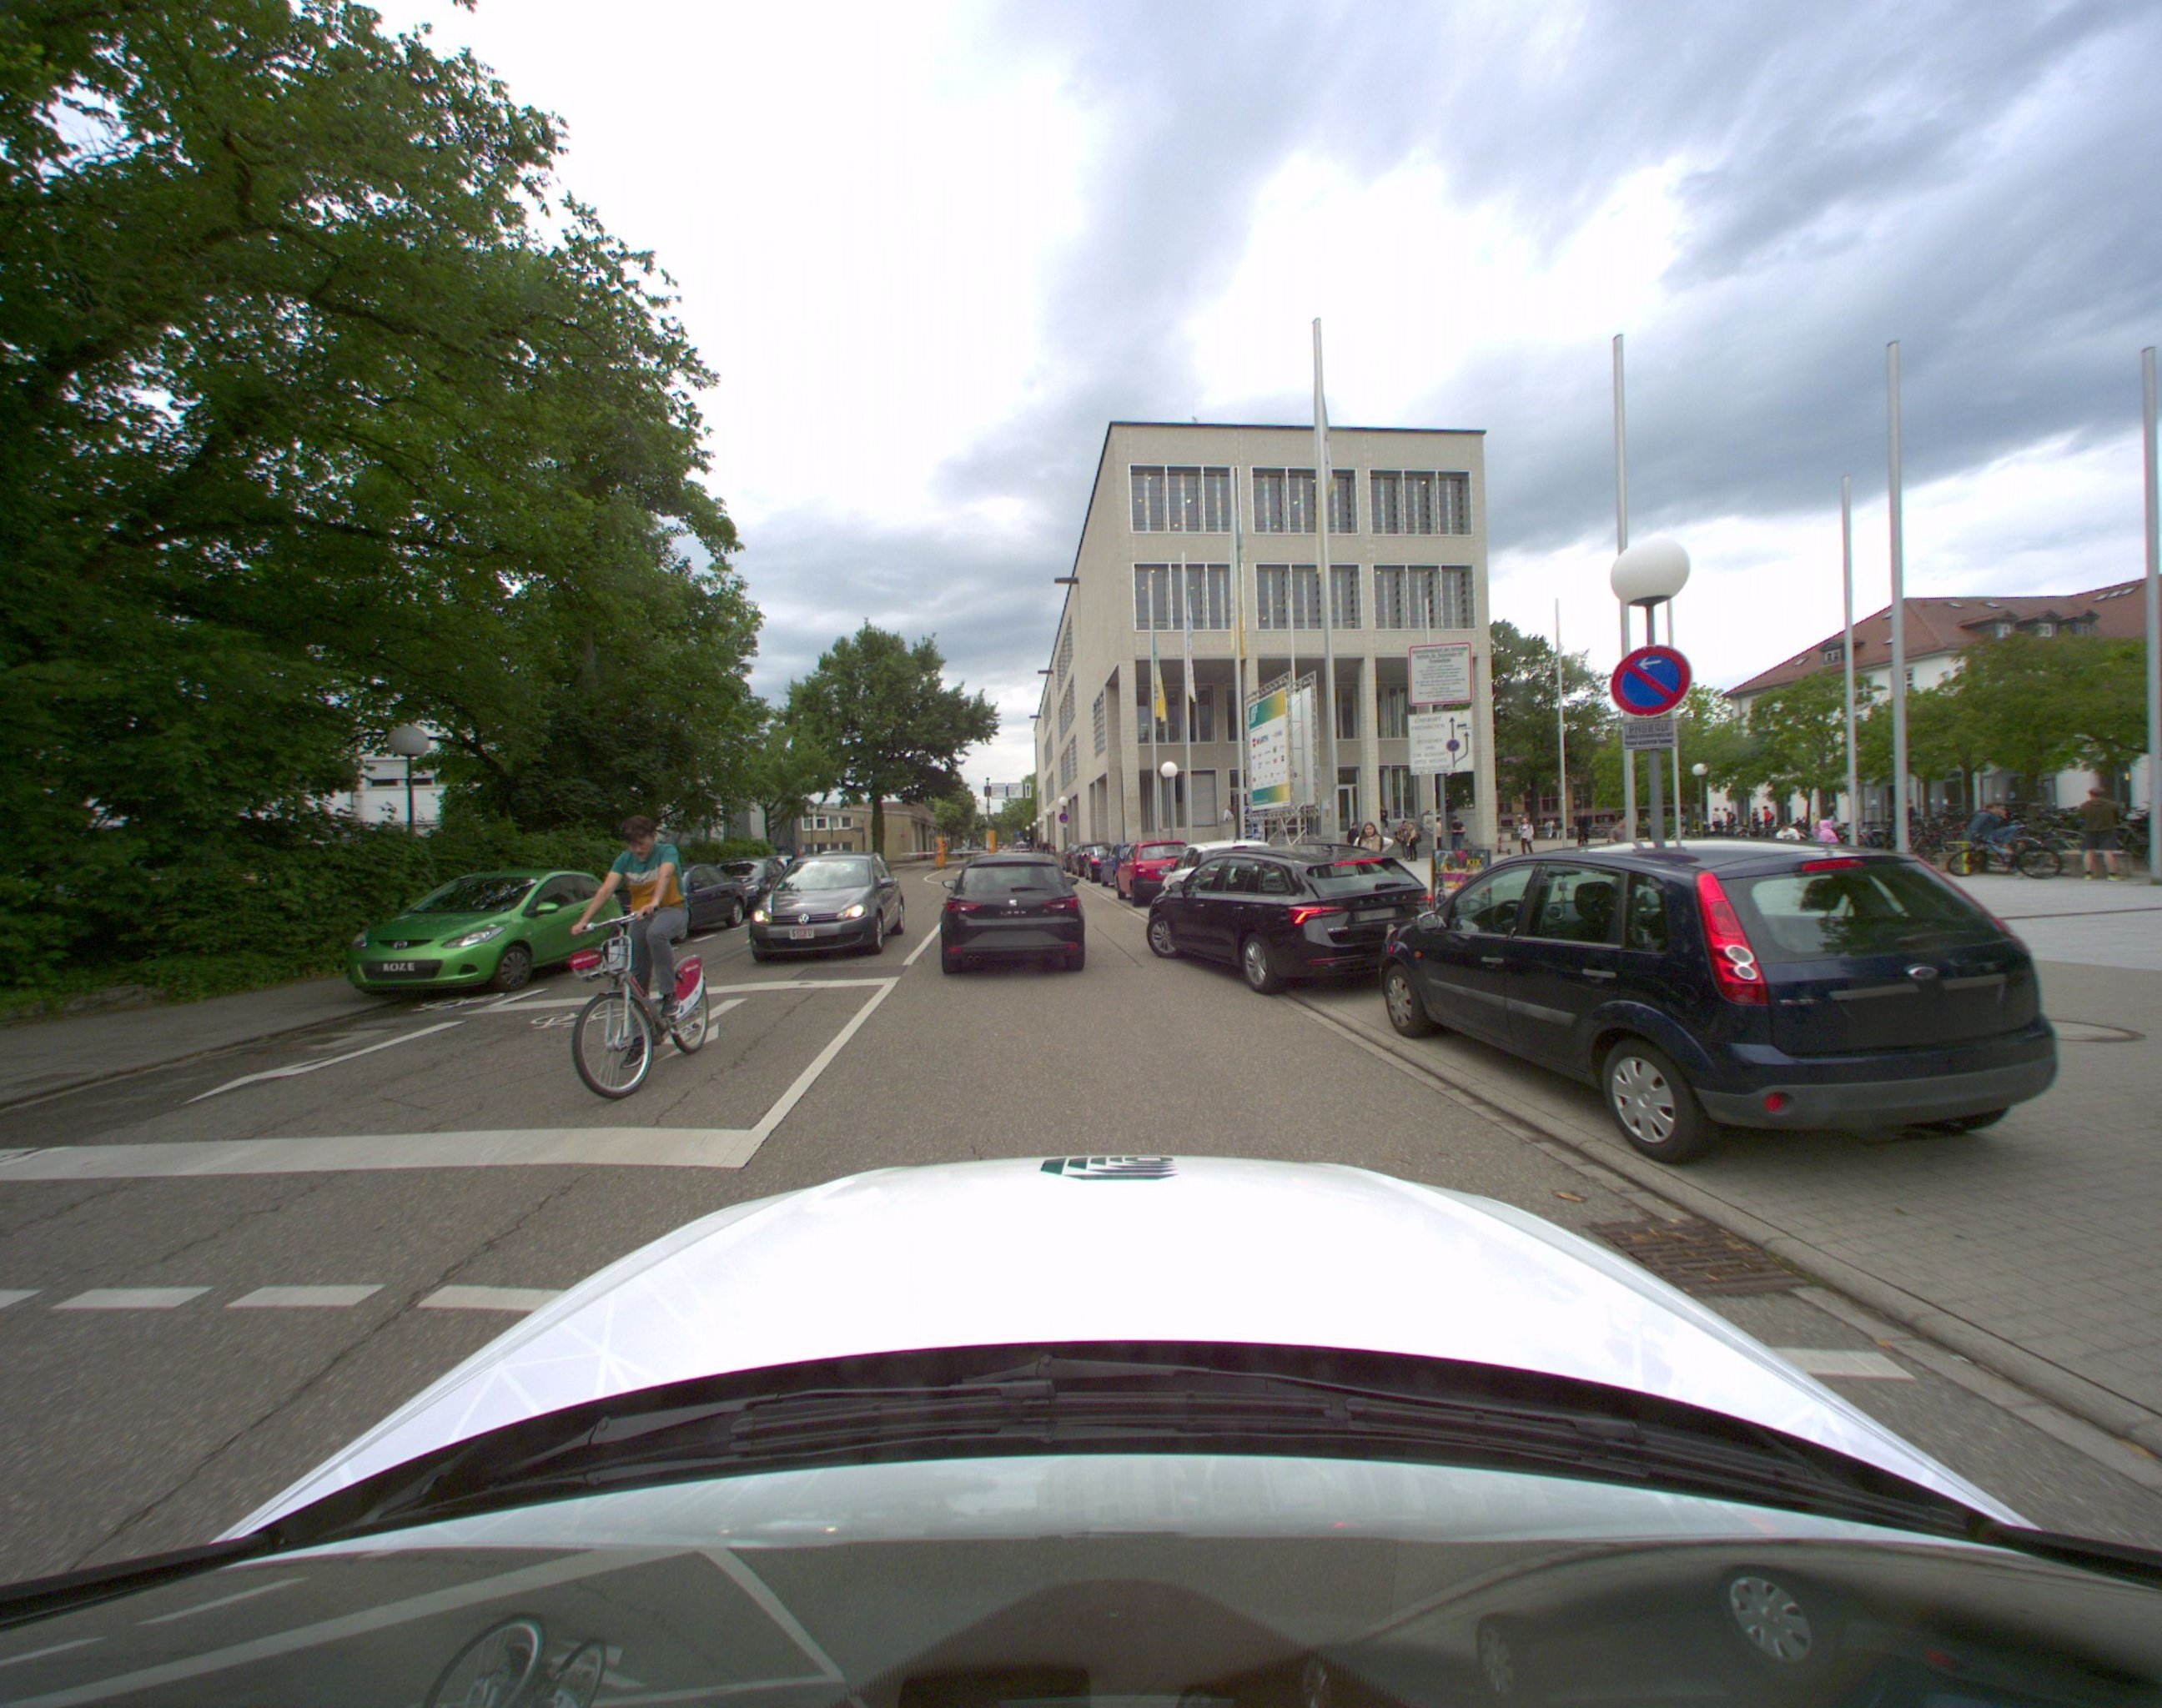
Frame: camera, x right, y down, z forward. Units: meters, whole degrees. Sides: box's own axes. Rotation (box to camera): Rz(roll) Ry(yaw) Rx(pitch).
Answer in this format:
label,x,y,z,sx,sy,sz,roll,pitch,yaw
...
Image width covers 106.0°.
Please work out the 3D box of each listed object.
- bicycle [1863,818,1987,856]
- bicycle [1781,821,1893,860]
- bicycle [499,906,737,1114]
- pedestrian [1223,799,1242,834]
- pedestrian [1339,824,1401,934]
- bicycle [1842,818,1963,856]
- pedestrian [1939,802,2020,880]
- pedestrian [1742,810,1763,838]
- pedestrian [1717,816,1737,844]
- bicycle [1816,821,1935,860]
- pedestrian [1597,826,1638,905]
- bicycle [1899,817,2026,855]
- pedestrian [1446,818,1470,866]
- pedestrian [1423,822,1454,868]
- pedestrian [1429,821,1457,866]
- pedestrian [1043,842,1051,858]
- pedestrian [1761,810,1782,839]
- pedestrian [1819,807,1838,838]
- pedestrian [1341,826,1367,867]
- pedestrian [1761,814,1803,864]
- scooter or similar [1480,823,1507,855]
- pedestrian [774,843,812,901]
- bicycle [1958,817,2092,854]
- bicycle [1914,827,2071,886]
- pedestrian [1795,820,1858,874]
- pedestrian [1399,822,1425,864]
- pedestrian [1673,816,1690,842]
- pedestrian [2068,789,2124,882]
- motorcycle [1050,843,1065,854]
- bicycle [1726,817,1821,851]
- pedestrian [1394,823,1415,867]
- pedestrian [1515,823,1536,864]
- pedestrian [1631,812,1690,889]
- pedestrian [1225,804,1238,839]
label,x,y,z,sx,sy,sz,roll,pitch,yaw
bicycle,27.936,-0.605,27.079,0.744,1.169,3.105,-1,3,-4
bicycle,24.798,-0.471,26.828,0.619,1.169,3.105,-1,3,-4
bicycle,-3.082,0.965,5.663,0.656,1.037,1.855,-2,1,-4
pedestrian,7.260,-1.799,38.968,0.798,1.658,0.634,1,3,19
pedestrian,4.883,0.406,13.818,0.787,1.787,0.823,-2,0,6
bicycle,27.158,-0.597,27.039,0.744,1.169,3.105,-1,3,-4
pedestrian,20.665,-0.301,18.742,0.852,1.704,0.963,-3,1,-18
pedestrian,40.878,-1.809,49.604,0.660,1.641,0.692,-2,0,-8
pedestrian,39.550,-1.468,49.840,0.660,1.641,0.664,-2,0,-9
bicycle,26.242,-0.491,27.020,0.744,1.169,3.105,-1,3,-4
pedestrian,12.487,0.250,18.967,0.636,1.807,0.652,1,3,21
bicycle,29.465,-0.629,27.346,0.744,1.169,3.105,-1,3,-4
pedestrian,14.946,-0.465,32.280,0.596,1.865,0.784,-2,0,43
pedestrian,14.034,-0.363,31.998,0.764,1.785,0.732,-2,0,-19
pedestrian,14.739,-0.426,33.166,0.721,1.785,0.732,-2,0,-19
pedestrian,-3.598,-0.459,86.937,0.728,1.698,0.586,-1,3,-11
pedestrian,41.083,-1.750,48.482,0.660,1.641,0.664,-2,0,-8
pedestrian,40.408,-1.684,44.003,0.670,1.641,0.654,-2,0,-42
pedestrian,11.293,-0.314,33.663,0.754,1.669,0.704,-2,0,-5
pedestrian,20.105,-0.424,23.349,0.676,1.413,0.761,-2,0,-37
scooter or similar,18.594,-0.688,36.678,1.498,1.369,0.401,-2,3,-34
pedestrian,-8.674,0.525,24.561,0.736,1.661,0.967,-3,2,-2
bicycle,31.912,-0.661,27.632,0.744,1.169,3.104,-1,3,-5
bicycle,19.915,0.005,17.897,0.456,1.169,2.407,-1,3,-10
pedestrian,20.506,-0.186,22.413,0.851,1.420,0.963,-2,0,-17
pedestrian,13.709,-0.457,33.719,0.775,1.715,0.602,-2,0,-5
pedestrian,39.193,-1.613,53.132,0.656,1.641,0.669,-2,0,13
pedestrian,20.647,-0.371,16.574,0.504,1.833,0.678,-2,0,34
motorcycle,-2.510,-0.608,87.584,0.753,1.148,2.676,1,3,19
bicycle,25.797,-0.781,30.447,0.744,1.169,3.105,-1,3,-3
pedestrian,13.701,-0.361,34.543,0.590,1.840,0.619,-1,0,-5
pedestrian,18.185,-0.457,33.289,0.727,1.640,0.937,1,3,29
pedestrian,13.400,-0.092,18.845,0.697,1.712,0.900,-5,4,-33
pedestrian,7.376,-1.601,39.900,0.625,1.658,0.809,0,3,11
